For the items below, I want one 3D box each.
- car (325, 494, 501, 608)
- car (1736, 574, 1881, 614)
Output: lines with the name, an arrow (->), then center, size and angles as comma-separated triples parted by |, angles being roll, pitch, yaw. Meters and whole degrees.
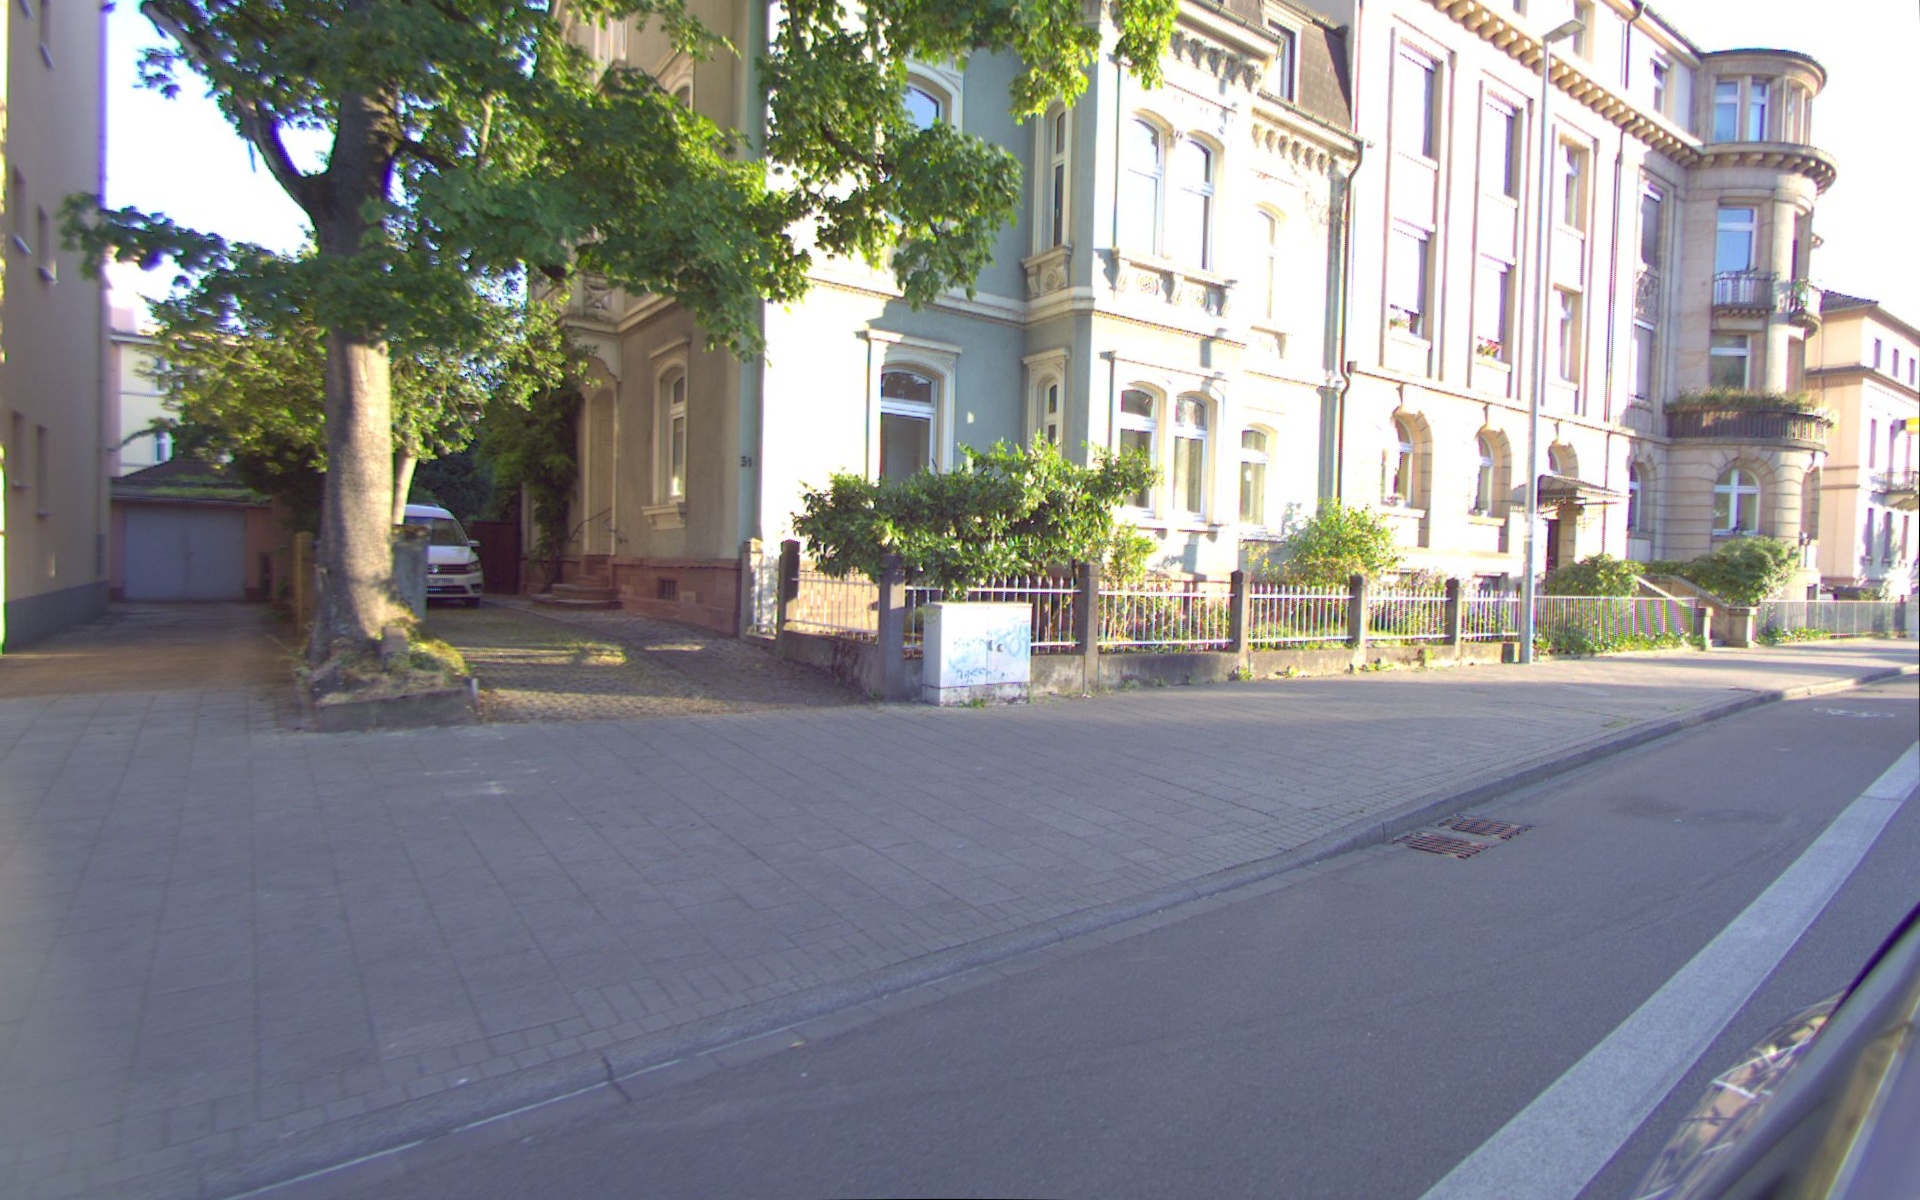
car -> -9.930, -0.923, 18.184 | 1.794, 1.778, 4.517 | 1, 3, -41
car -> 33.991, -0.262, 40.645 | 1.902, 1.499, 4.101 | 0, 2, -35
